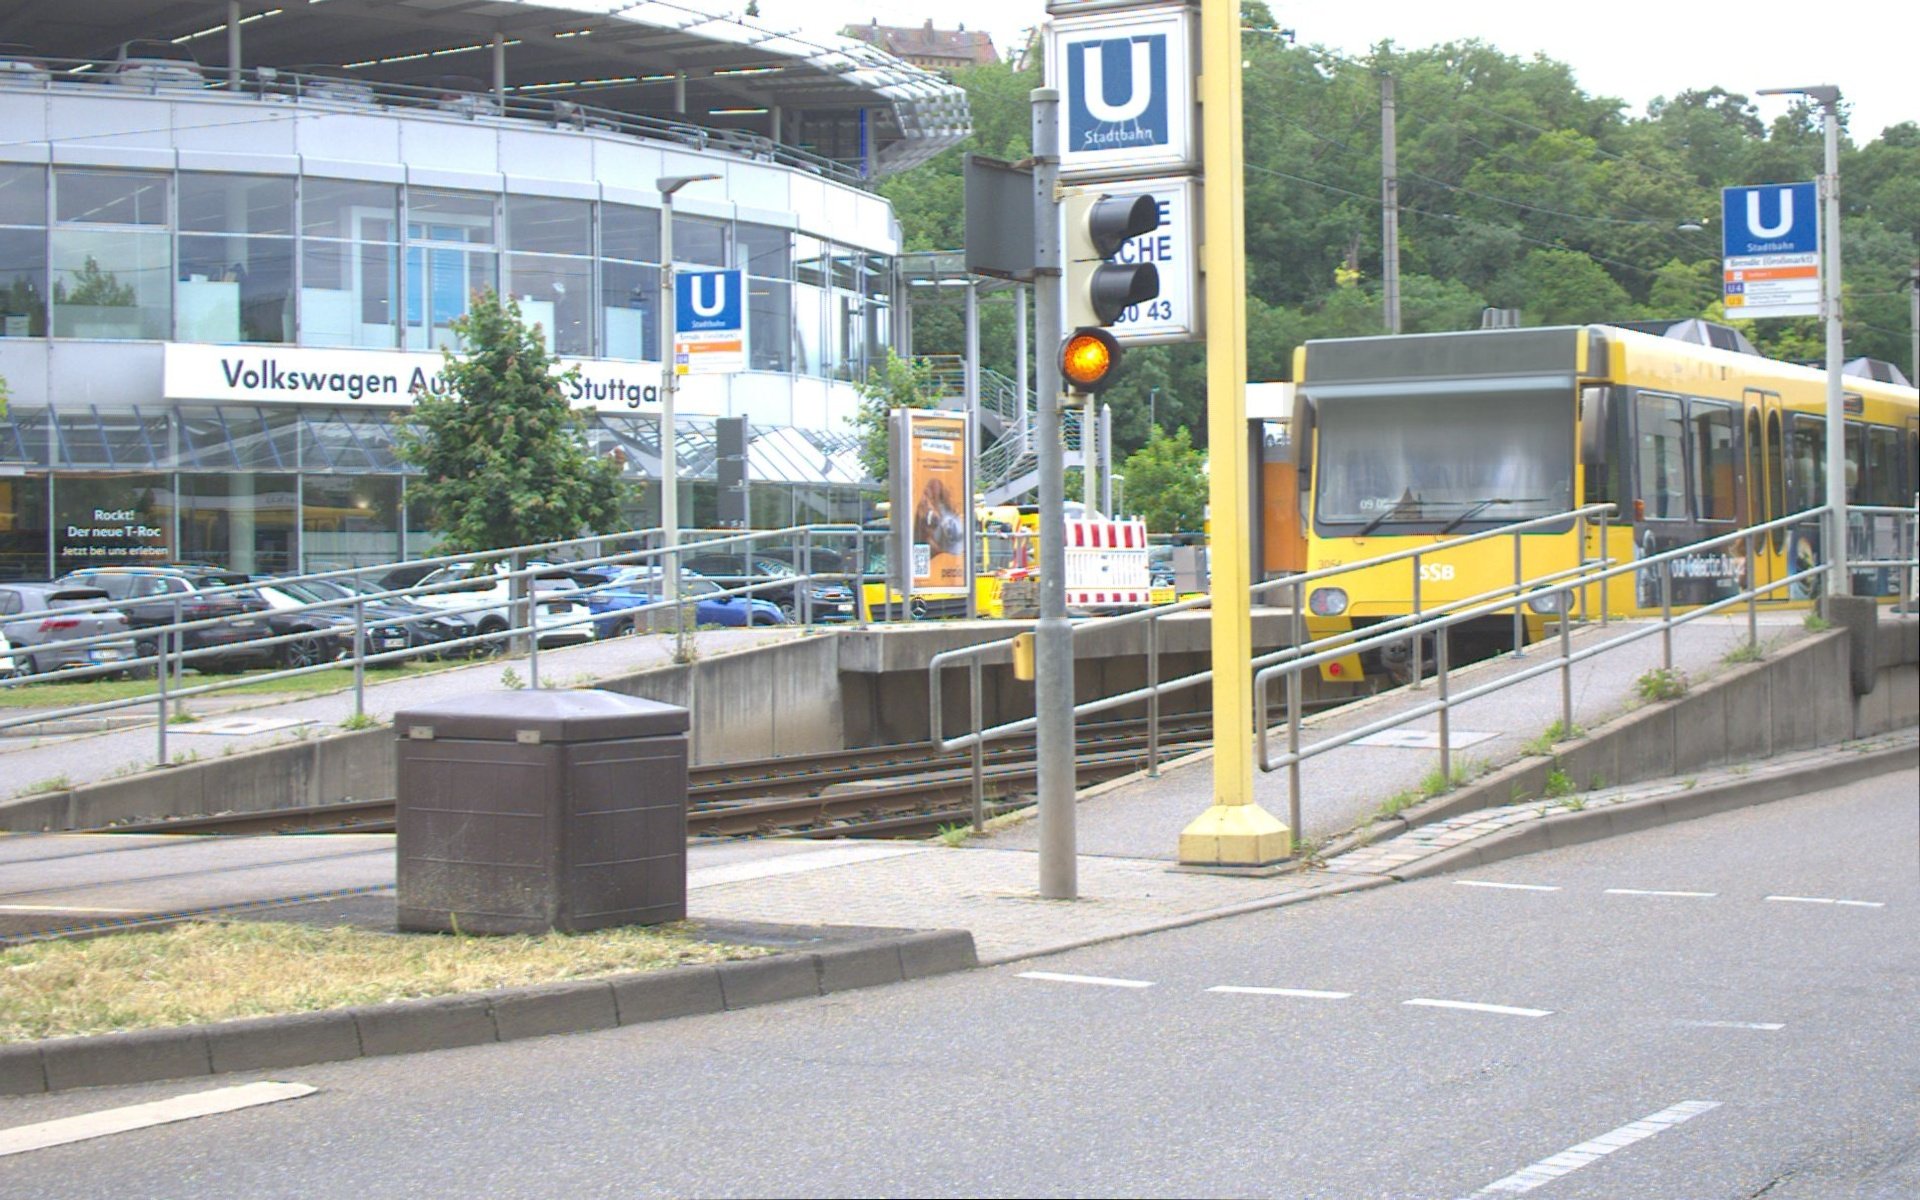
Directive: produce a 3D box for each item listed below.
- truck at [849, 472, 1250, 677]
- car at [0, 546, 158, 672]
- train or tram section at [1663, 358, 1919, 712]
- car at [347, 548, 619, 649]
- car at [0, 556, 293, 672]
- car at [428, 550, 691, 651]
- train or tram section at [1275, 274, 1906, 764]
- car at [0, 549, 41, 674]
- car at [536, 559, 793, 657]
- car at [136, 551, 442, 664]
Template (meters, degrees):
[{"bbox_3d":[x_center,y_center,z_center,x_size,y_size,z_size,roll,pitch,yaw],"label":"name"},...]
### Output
[{"bbox_3d":[1.652,-0.393,56.269,2.699,3.068,8.992,0,0,29],"label":"truck"},{"bbox_3d":[-13.049,0.115,46.240,3.992,1.549,1.925,1,-3,23],"label":"car"},{"bbox_3d":[12.042,-0.832,44.290,2.745,3.953,11.894,0,1,27],"label":"train or tram section"},{"bbox_3d":[-7.635,-0.038,55.005,3.994,1.549,1.924,0,1,32],"label":"car"},{"bbox_3d":[-11.622,0.165,48.430,3.992,1.549,1.925,1,1,23],"label":"car"},{"bbox_3d":[-6.700,0.008,57.477,3.994,1.549,1.923,0,-3,32],"label":"car"},{"bbox_3d":[6.603,-0.760,33.672,2.745,3.953,11.894,0,1,27],"label":"train or tram section"},{"bbox_3d":[-14.021,0.109,44.209,3.992,1.549,1.727,1,-3,23],"label":"car"},{"bbox_3d":[-5.077,0.138,59.066,3.994,1.549,1.923,0,-3,32],"label":"car"},{"bbox_3d":[-9.799,0.086,50.217,3.992,1.549,1.925,1,2,23],"label":"car"}]
